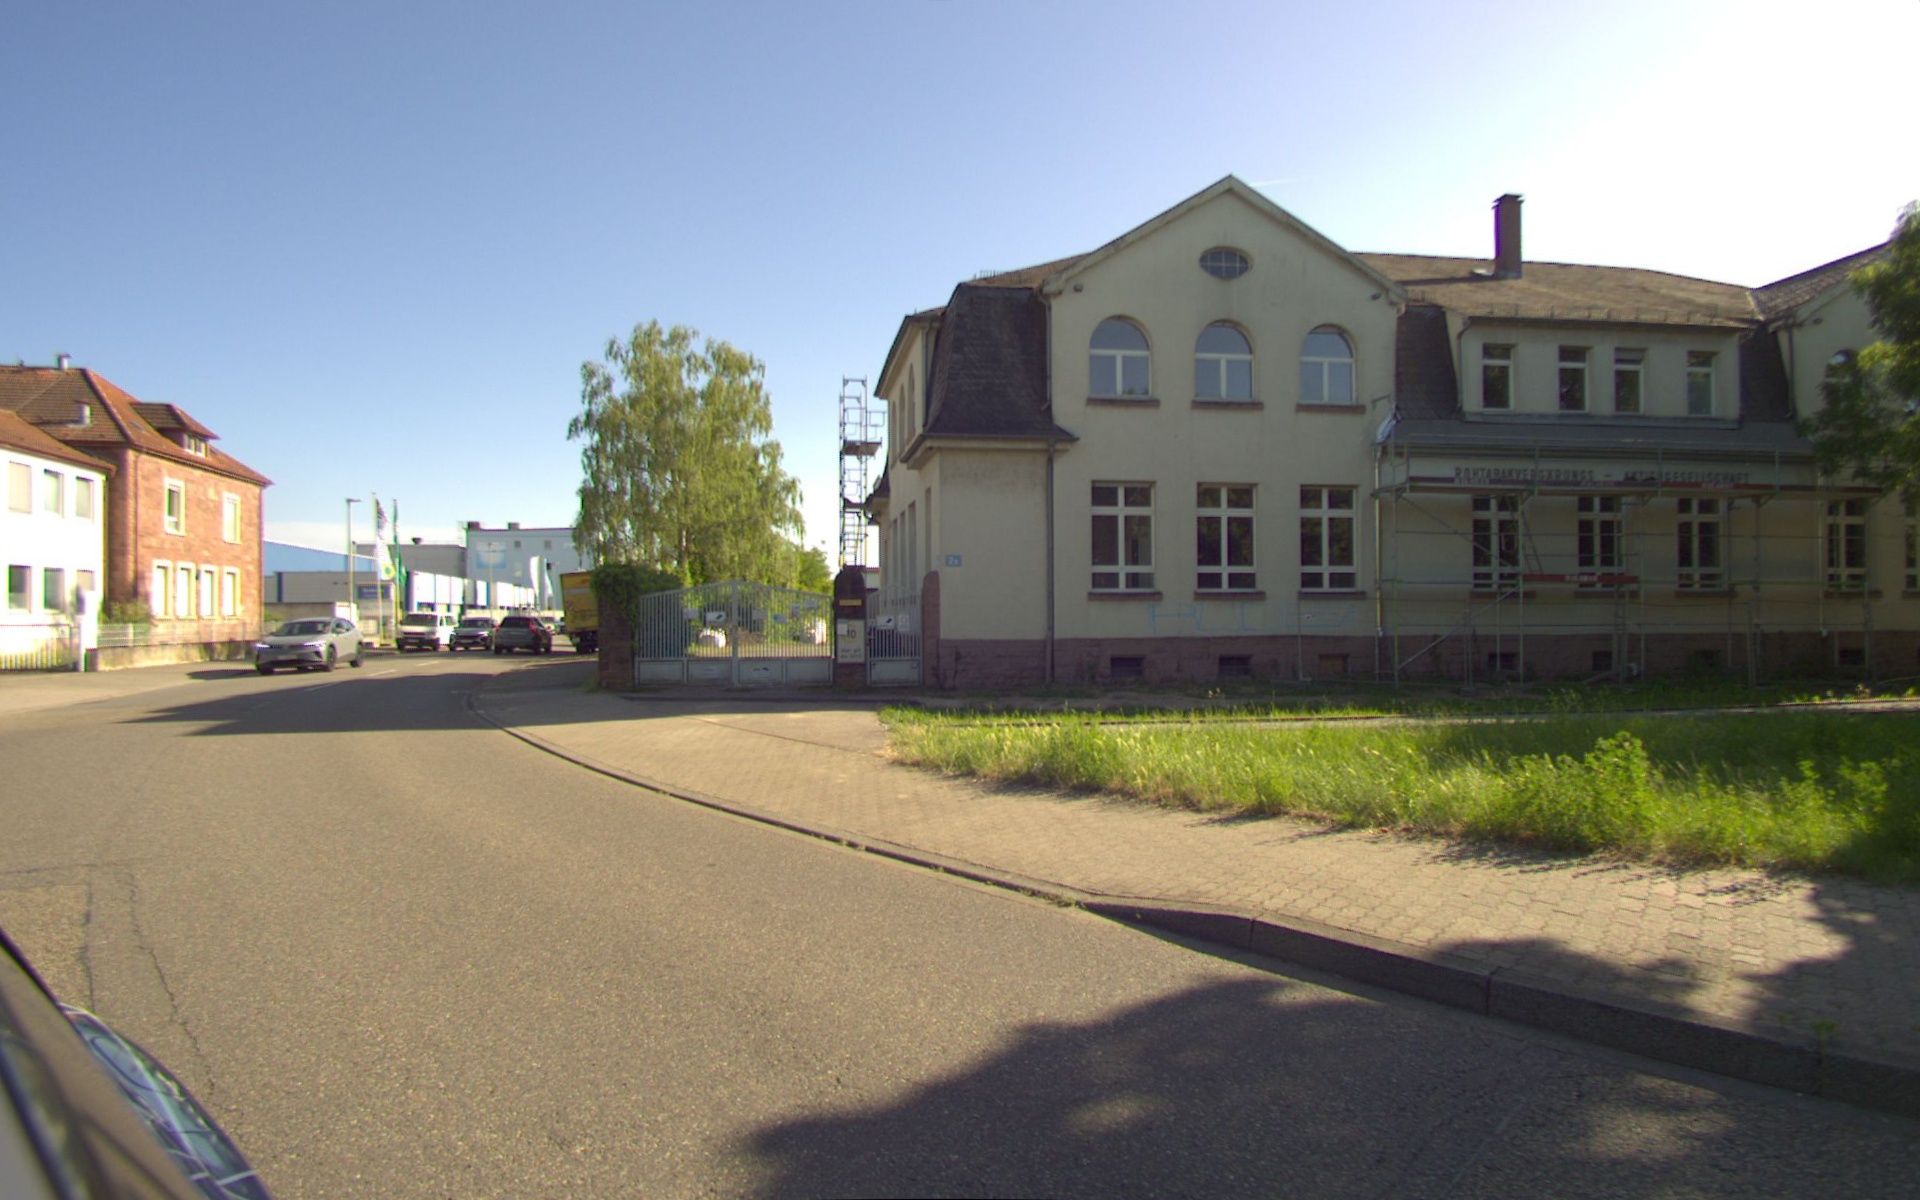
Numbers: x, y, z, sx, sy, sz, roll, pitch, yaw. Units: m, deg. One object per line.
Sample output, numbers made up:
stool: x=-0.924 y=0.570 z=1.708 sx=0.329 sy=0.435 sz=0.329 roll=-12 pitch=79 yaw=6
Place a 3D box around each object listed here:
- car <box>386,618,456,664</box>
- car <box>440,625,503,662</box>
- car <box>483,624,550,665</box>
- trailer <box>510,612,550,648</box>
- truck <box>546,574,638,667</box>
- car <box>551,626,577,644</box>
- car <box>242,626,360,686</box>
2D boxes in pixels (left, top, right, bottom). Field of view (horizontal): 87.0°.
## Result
car: x=-26.750 y=2.021 z=50.387 sx=1.821 sy=2.029 sz=4.726 roll=-4 pitch=-1 yaw=-13
car: x=-23.341 y=2.054 z=48.471 sx=1.821 sy=1.643 sz=4.306 roll=0 pitch=-2 yaw=-13
car: x=-19.353 y=1.907 z=44.327 sx=1.966 sy=1.708 sz=4.577 roll=0 pitch=-2 yaw=-14
trailer: x=-34.296 y=2.388 z=80.755 sx=2.128 sy=2.738 sz=4.207 roll=0 pitch=-2 yaw=-11
truck: x=-16.744 y=0.953 z=46.577 sx=2.804 sy=3.646 sz=8.027 roll=-5 pitch=0 yaw=-14
car: x=-38.287 y=3.395 z=98.011 sx=1.820 sy=1.718 sz=4.306 roll=0 pitch=-2 yaw=-14
car: x=-19.719 y=1.627 z=30.497 sx=1.820 sy=1.643 sz=4.308 roll=0 pitch=-2 yaw=-16
